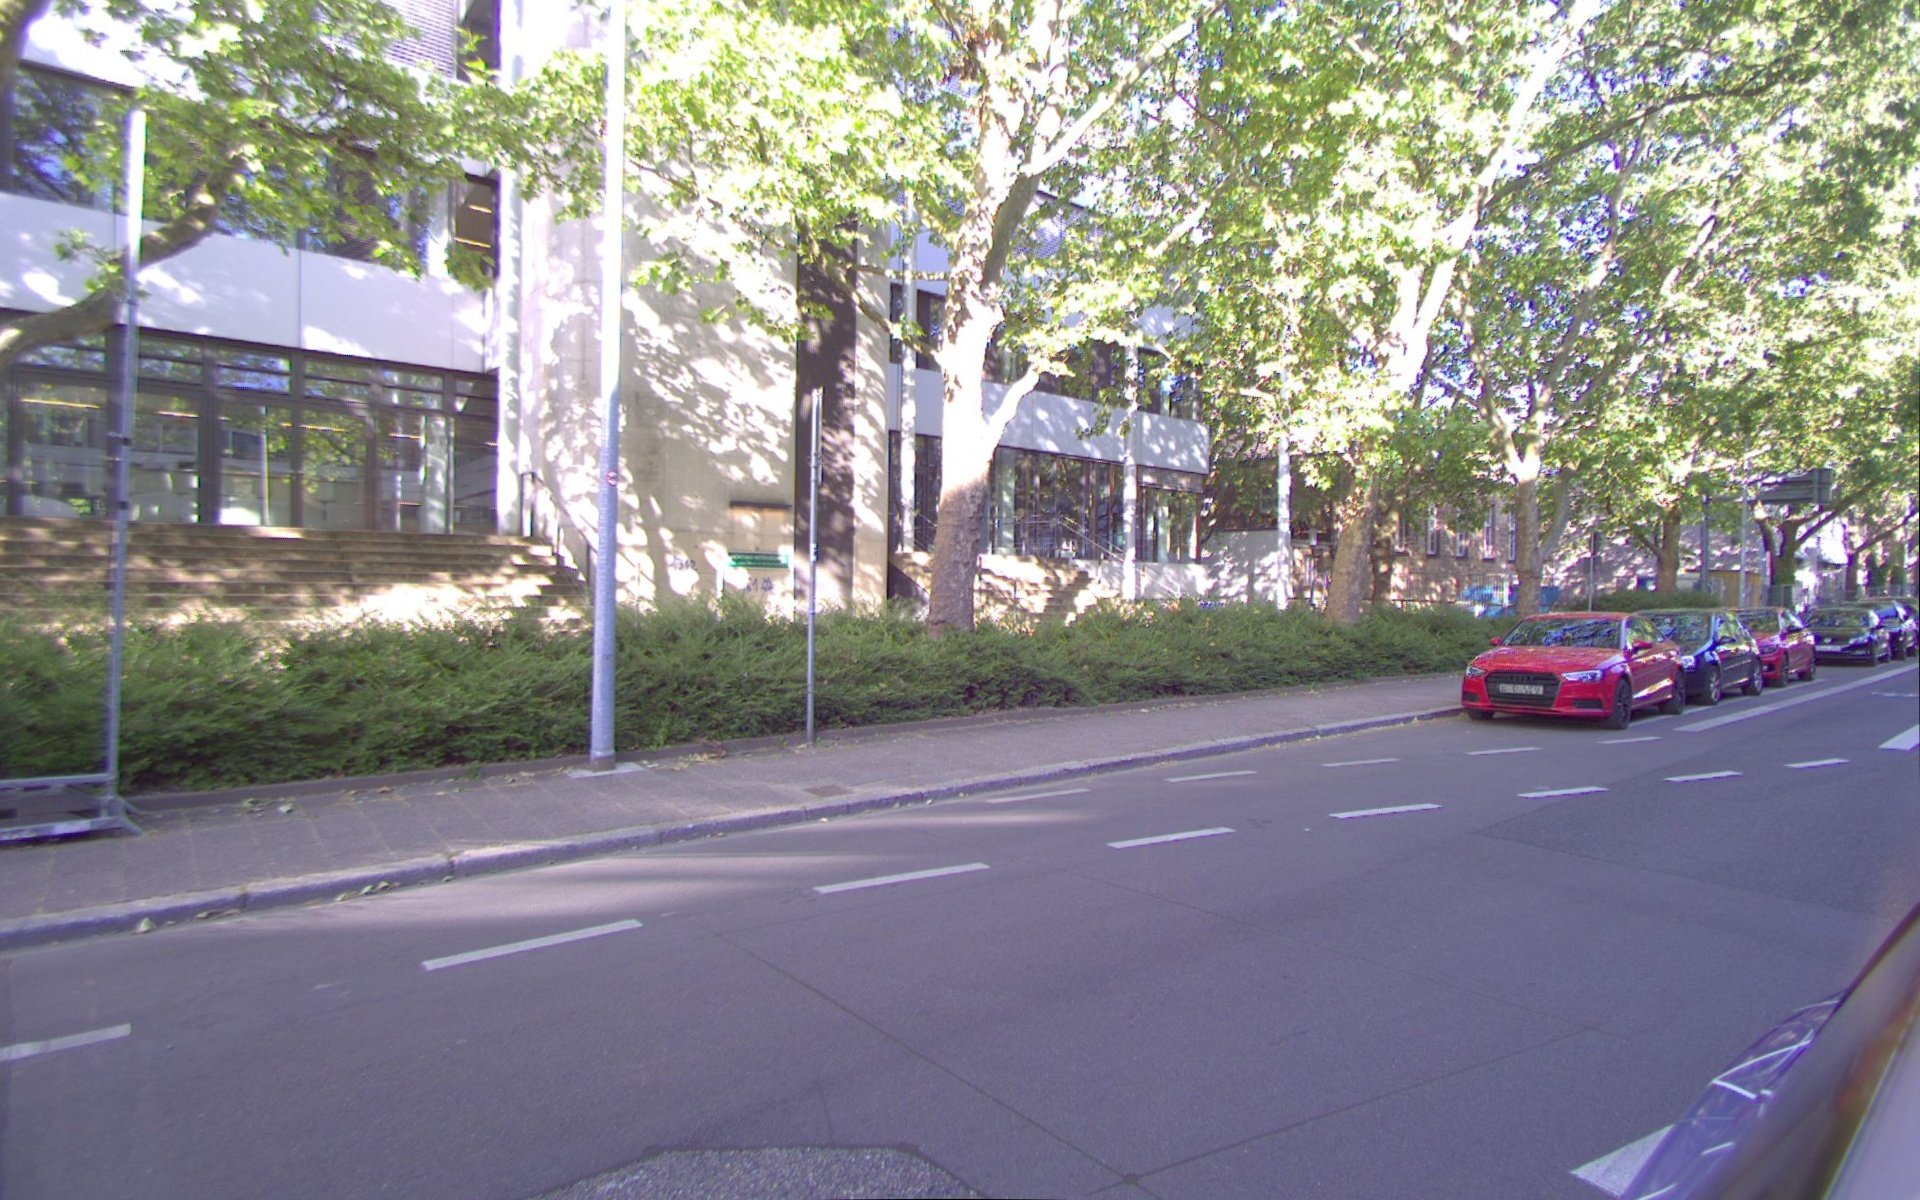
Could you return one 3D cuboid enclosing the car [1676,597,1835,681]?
[{"bbox_3d":[15.865,0.694,20.109,4.092,1.502,1.815,0,-1,-42],"label":"car"}]

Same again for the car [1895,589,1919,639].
[{"bbox_3d":[35.916,0.475,37.252,4.475,1.777,1.788,0,-1,-42],"label":"car"}]

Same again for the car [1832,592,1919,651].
[{"bbox_3d":[26.602,0.581,29.134,4.092,1.573,1.788,0,-1,-42],"label":"car"}]

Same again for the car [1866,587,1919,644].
[{"bbox_3d":[31.063,0.480,33.016,4.271,1.777,1.788,0,-1,-42],"label":"car"}]

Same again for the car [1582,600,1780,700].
[{"bbox_3d":[11.960,0.733,16.688,4.092,1.431,1.815,0,-1,-42],"label":"car"}]

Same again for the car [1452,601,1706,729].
[{"bbox_3d":[8.366,0.748,13.548,4.092,1.431,1.815,0,-1,-42],"label":"car"}]

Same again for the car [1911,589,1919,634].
[{"bbox_3d":[39.633,0.429,40.403,4.475,1.777,2.040,0,-1,-42],"label":"car"}]

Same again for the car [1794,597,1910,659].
[{"bbox_3d":[23.057,0.672,26.102,4.092,1.478,1.788,0,-1,-42],"label":"car"}]
